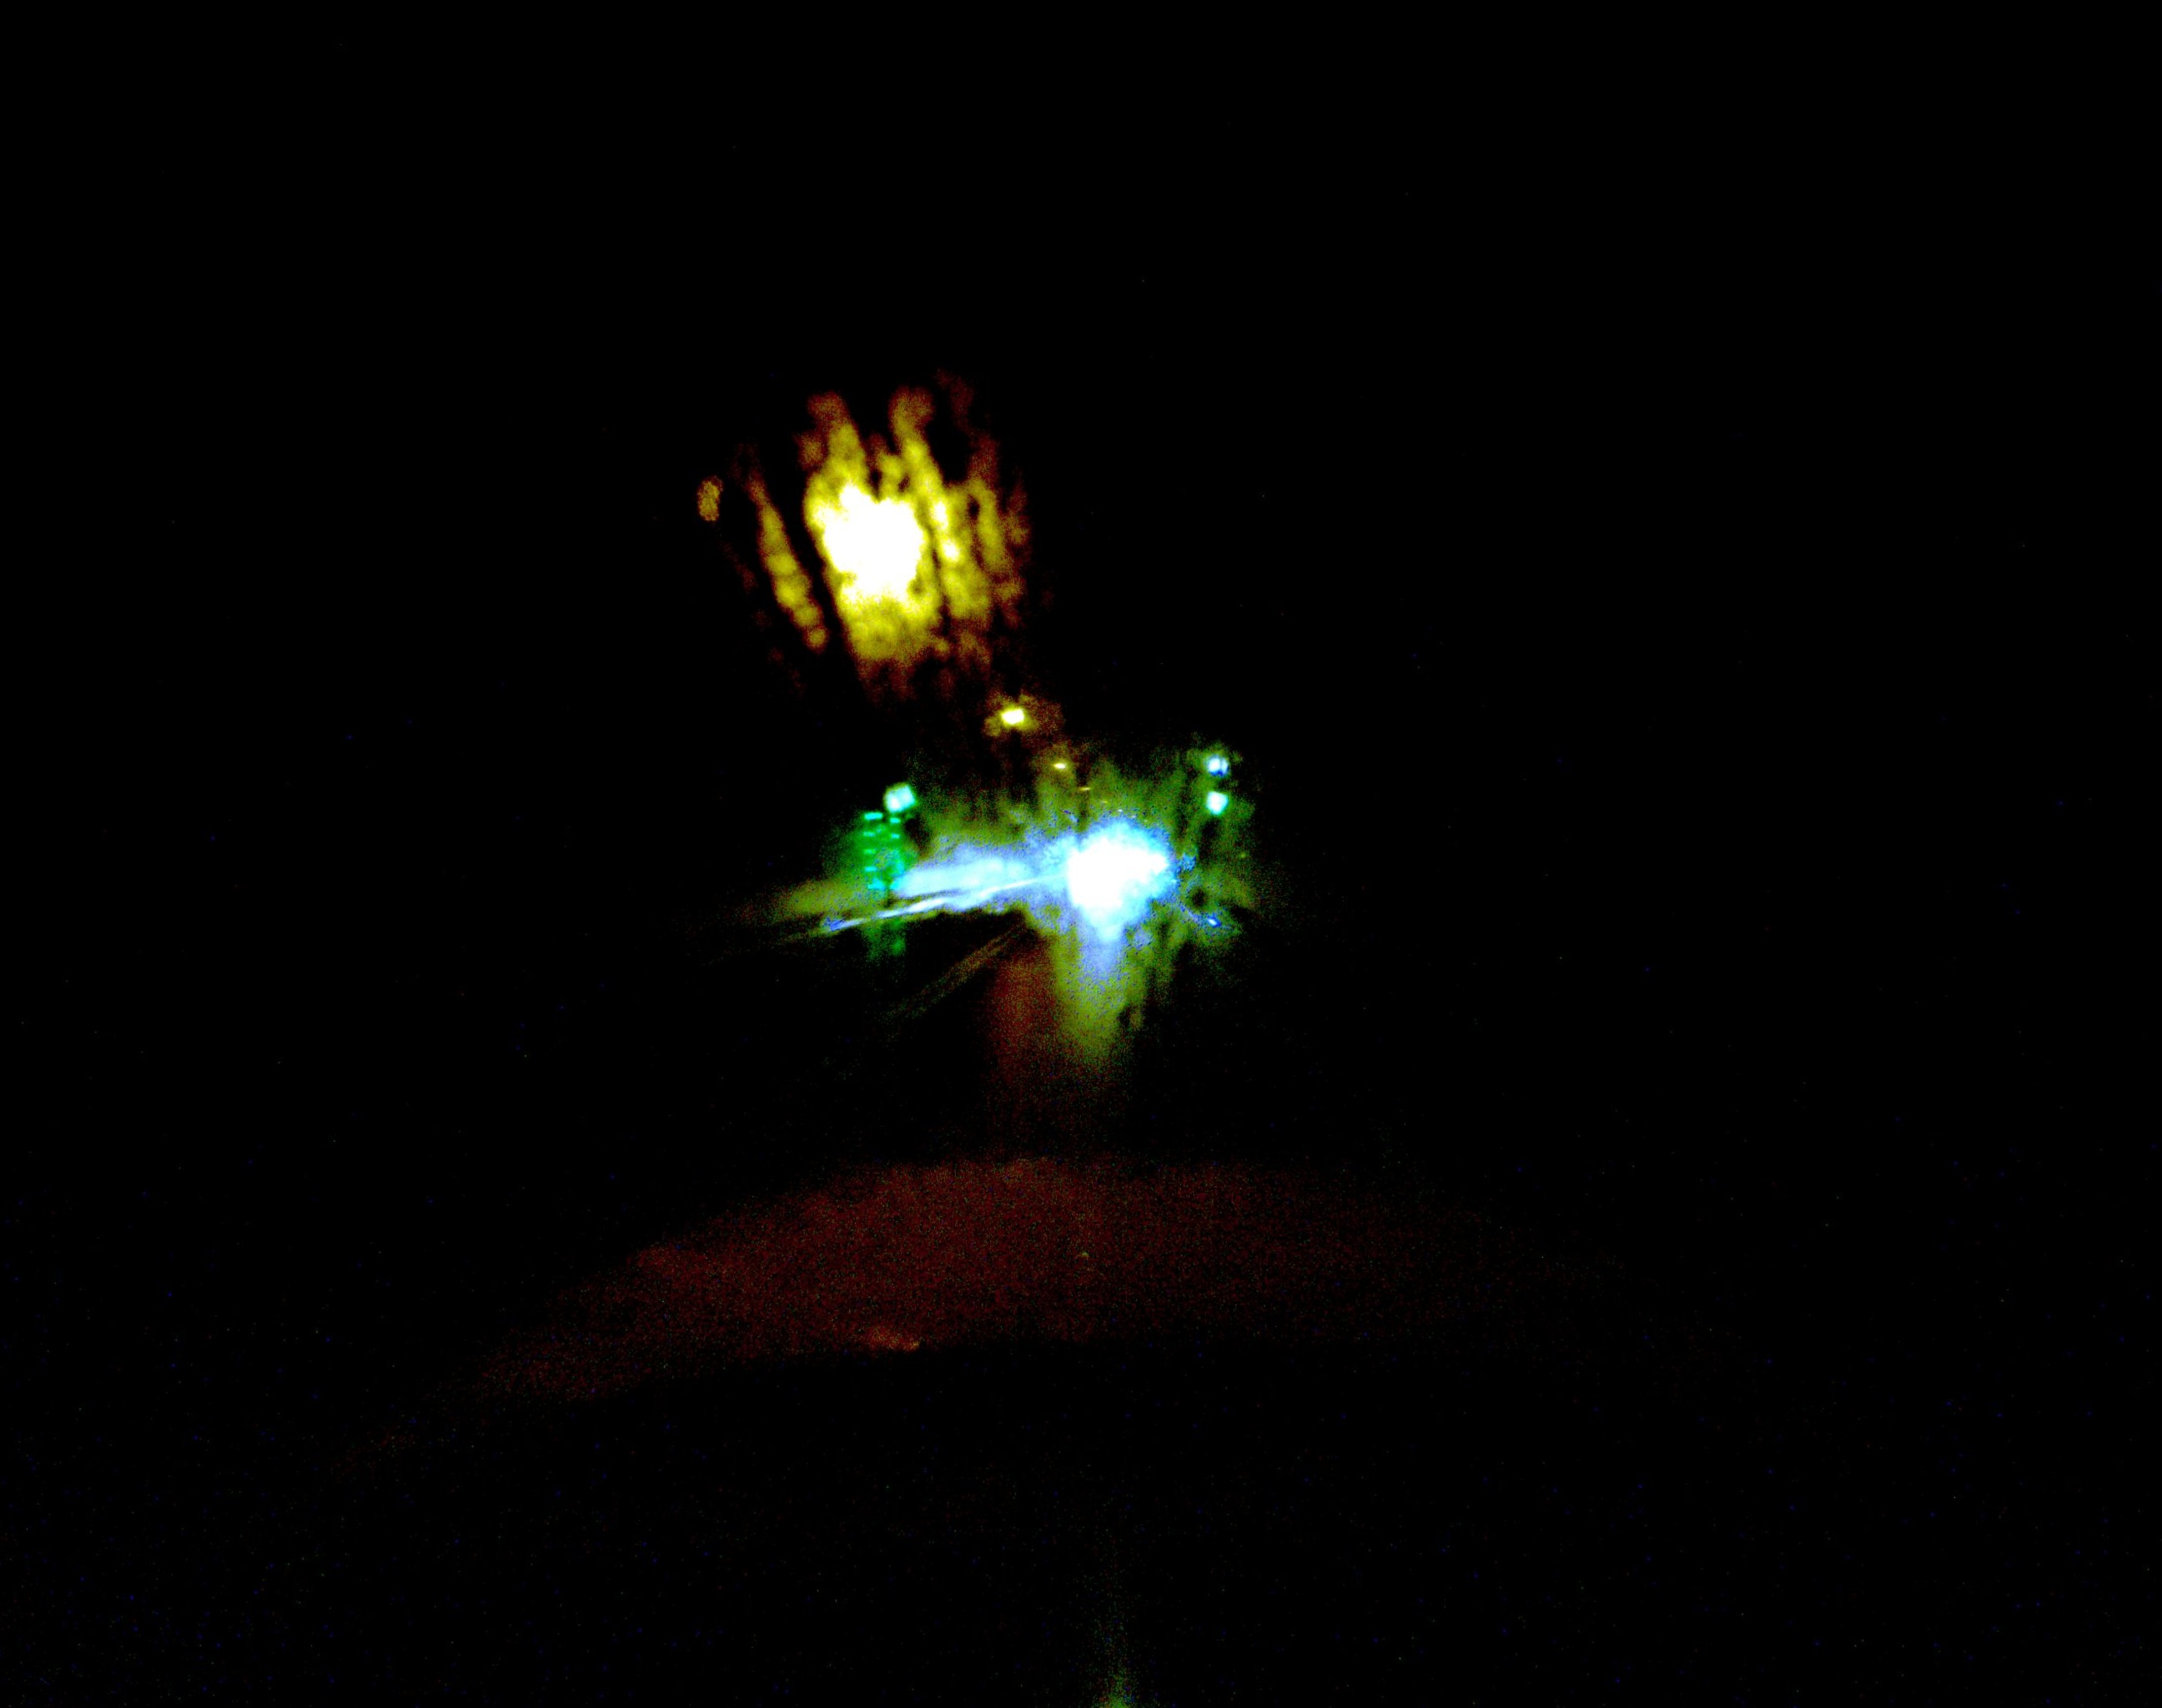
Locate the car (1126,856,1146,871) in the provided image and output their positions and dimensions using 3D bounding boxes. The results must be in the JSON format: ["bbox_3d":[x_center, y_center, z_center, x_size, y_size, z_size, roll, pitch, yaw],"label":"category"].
[{"bbox_3d":[5.792,1.024,86.436,1.839,1.474,4.000,-1,0,1],"label":"car"}]

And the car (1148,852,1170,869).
[{"bbox_3d":[7.421,0.598,78.131,1.985,1.650,4.005,0,0,4],"label":"car"}]

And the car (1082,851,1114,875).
[{"bbox_3d":[1.234,0.591,58.290,1.984,1.650,4.007,0,0,6],"label":"car"}]
